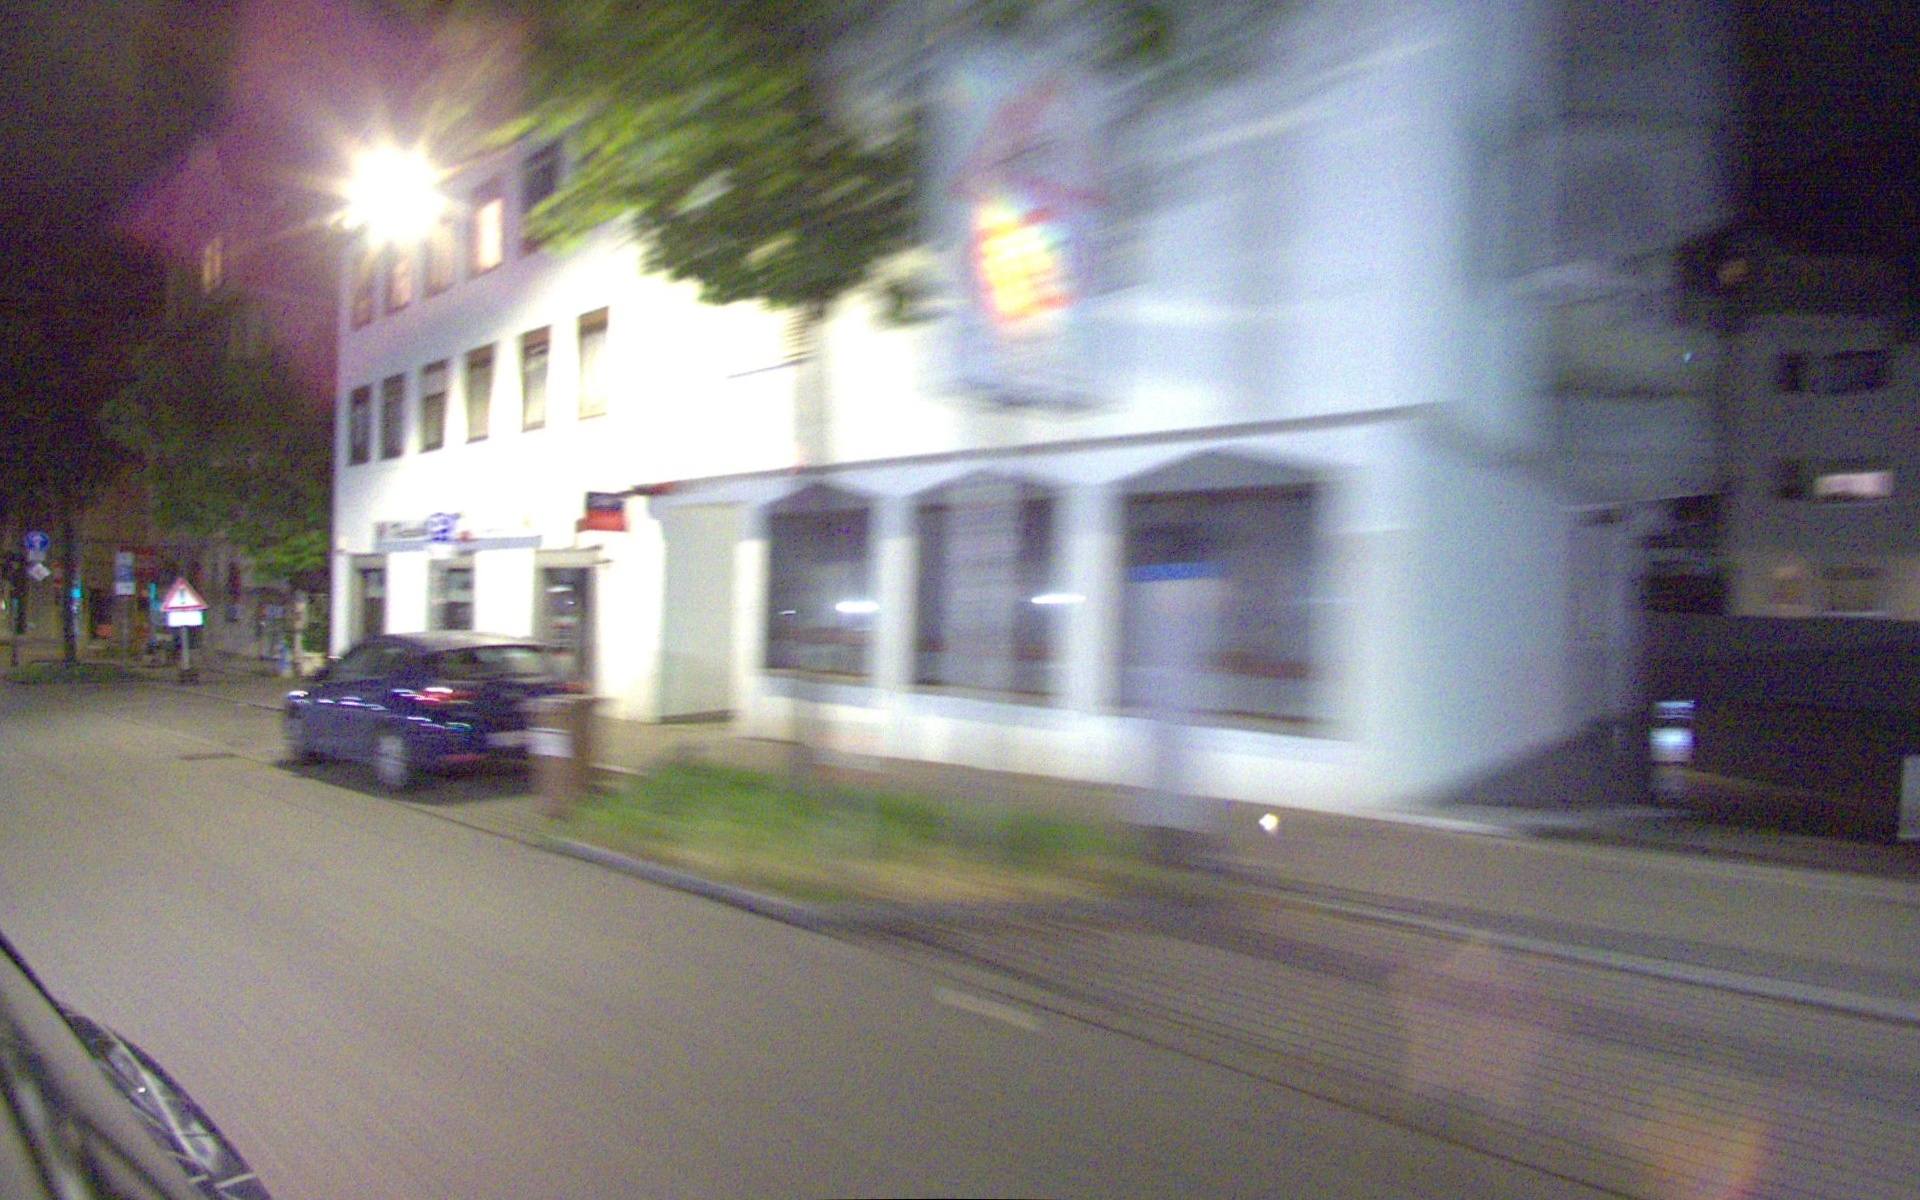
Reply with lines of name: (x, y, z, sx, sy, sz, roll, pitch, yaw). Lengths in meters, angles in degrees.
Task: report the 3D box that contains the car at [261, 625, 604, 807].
car: (-5.661, 1.031, 10.617, 4.288, 1.497, 1.709, -1, -1, 40)
